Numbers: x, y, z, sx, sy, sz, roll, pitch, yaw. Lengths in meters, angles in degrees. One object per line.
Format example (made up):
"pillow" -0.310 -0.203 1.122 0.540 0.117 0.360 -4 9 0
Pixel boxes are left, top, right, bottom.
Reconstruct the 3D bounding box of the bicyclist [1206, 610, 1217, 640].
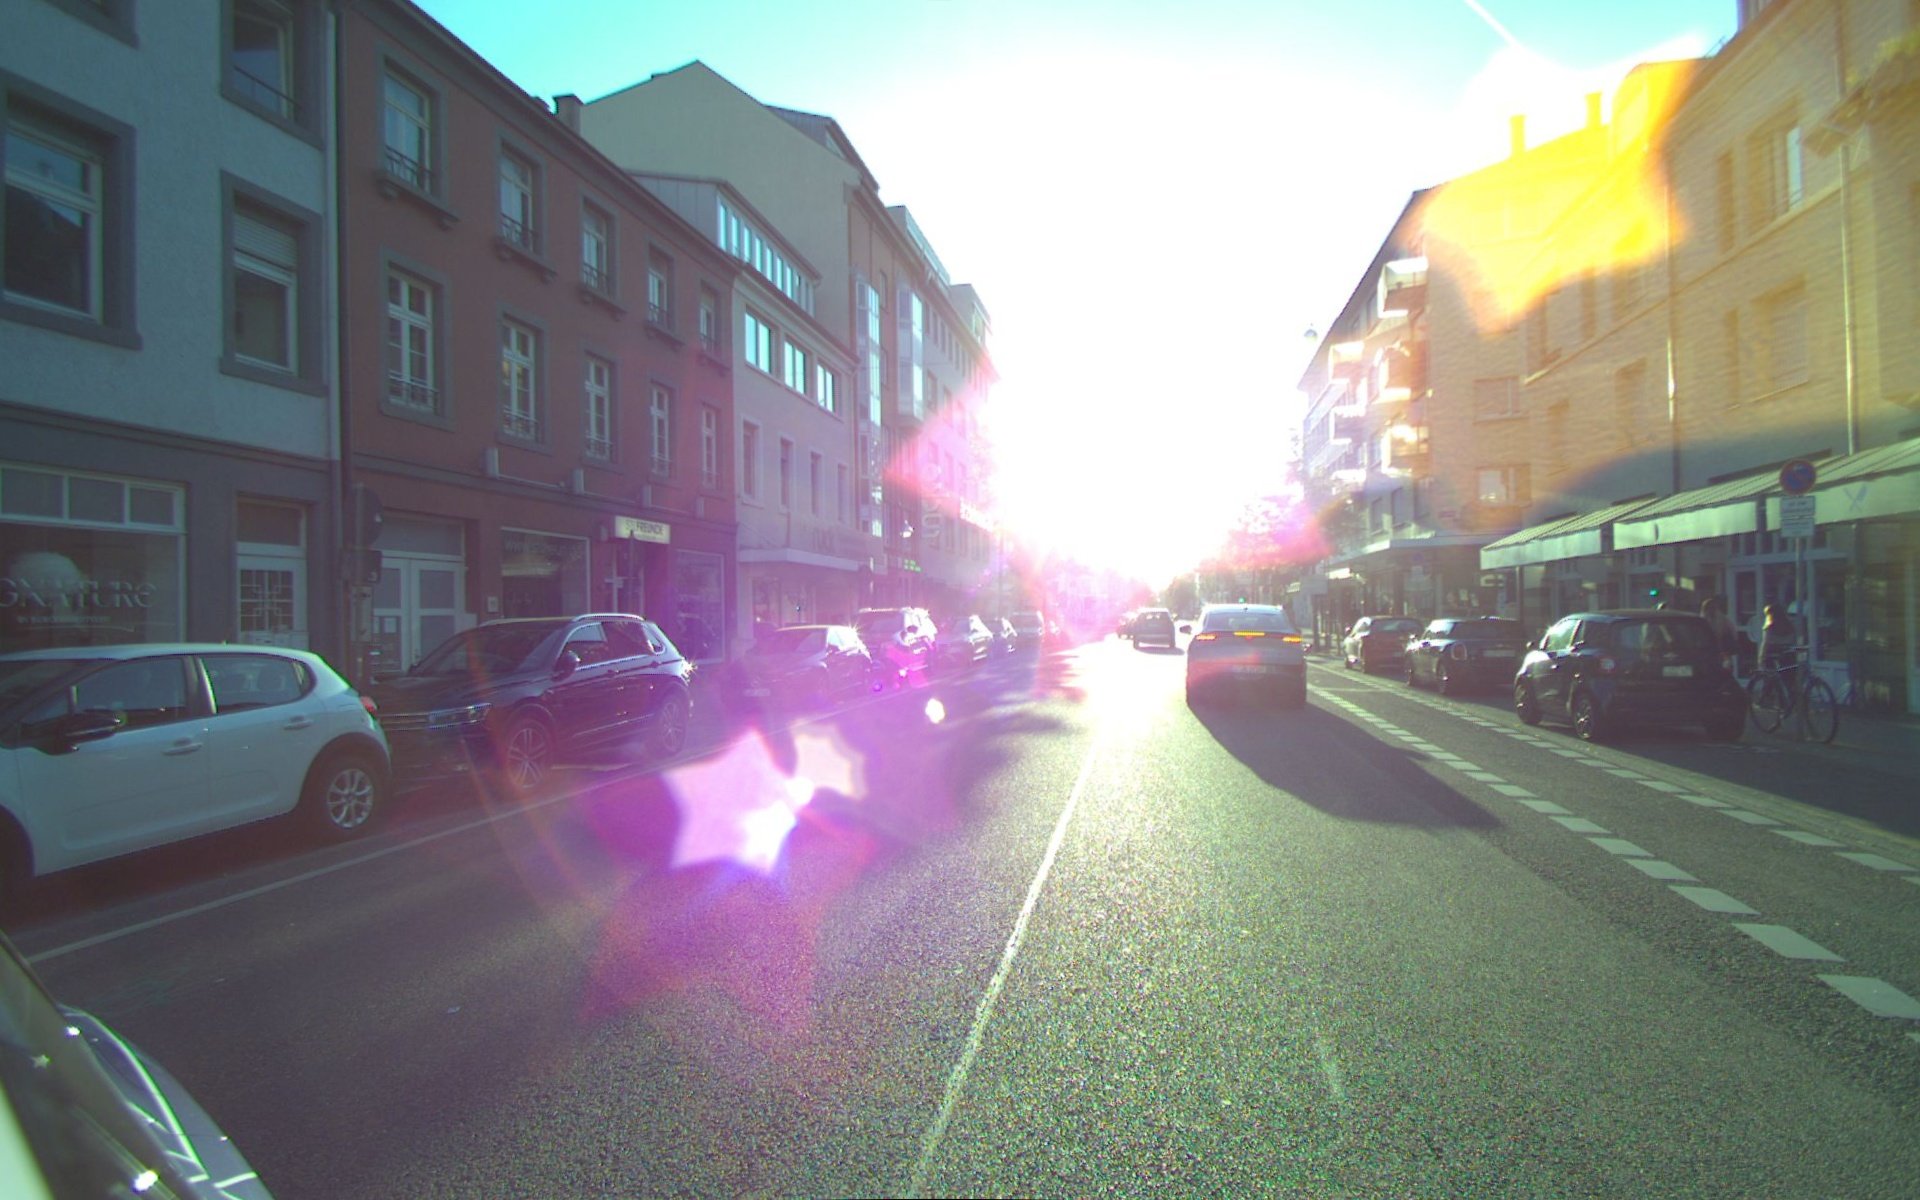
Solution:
"bicyclist" 13.396 1.338 53.898 0.543 1.593 0.799 -2 -1 14

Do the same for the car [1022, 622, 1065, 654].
"car" 4.305 1.919 51.725 1.678 1.514 3.771 -1 -1 13

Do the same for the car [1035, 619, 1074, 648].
"car" 5.373 1.872 57.141 1.678 1.514 3.771 -1 -1 13

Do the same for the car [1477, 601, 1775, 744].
"car" 8.499 0.845 13.393 1.775 1.592 3.955 -1 -1 9

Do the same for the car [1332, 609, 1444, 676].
"car" 10.999 1.057 26.281 1.775 1.592 3.776 -1 -1 9

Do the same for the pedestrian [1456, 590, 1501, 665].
"pedestrian" 12.320 0.657 24.081 0.713 1.747 0.735 -2 -1 11

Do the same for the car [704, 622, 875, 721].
"car" -2.997 1.224 18.774 1.672 1.499 4.396 -4 -1 10

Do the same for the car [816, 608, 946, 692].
"car" -1.799 1.143 25.051 1.977 1.790 5.303 -2 -1 9

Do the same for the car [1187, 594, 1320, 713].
"car" 4.761 0.793 16.893 1.860 1.710 4.303 1 -1 13

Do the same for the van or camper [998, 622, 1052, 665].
"van or camper" 3.041 1.957 46.592 1.776 1.787 4.539 -1 -1 13

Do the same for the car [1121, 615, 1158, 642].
"car" 11.668 1.810 66.141 1.819 1.661 4.297 1 0 3

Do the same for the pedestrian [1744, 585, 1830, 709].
"pedestrian" 11.839 0.658 14.509 0.555 1.713 0.829 -2 -1 11

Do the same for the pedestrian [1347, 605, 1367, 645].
"pedestrian" 18.308 1.132 46.679 0.713 1.805 0.664 -2 -1 12

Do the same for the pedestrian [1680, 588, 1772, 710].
"pedestrian" 11.228 0.707 14.870 0.625 1.713 1.037 -2 -1 11

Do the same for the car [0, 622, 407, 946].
"car" -5.470 0.984 6.031 1.650 1.585 3.920 -3 -1 12

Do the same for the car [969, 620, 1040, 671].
"car" 1.695 1.613 36.883 1.978 1.667 4.465 -1 -1 10

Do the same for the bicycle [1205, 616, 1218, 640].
"bicycle" 13.380 1.468 53.787 0.659 1.252 2.120 1 -1 14

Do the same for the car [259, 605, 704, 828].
"car" -4.400 0.972 10.238 1.780 1.711 4.445 -3 -1 10

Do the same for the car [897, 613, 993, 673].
"car" -0.368 1.262 31.259 1.979 1.667 4.610 -2 -1 12

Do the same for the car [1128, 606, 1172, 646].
"car" 8.340 1.105 44.636 1.824 1.661 4.287 1 0 10

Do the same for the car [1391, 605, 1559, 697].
"car" 9.784 0.924 19.557 1.775 1.592 3.776 -1 -1 9

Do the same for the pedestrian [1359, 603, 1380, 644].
"pedestrian" 17.998 1.033 44.487 0.713 1.805 0.664 -2 -1 12

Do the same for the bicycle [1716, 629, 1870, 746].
"bicycle" 9.670 0.965 11.845 0.554 1.215 1.969 -1 -1 13
